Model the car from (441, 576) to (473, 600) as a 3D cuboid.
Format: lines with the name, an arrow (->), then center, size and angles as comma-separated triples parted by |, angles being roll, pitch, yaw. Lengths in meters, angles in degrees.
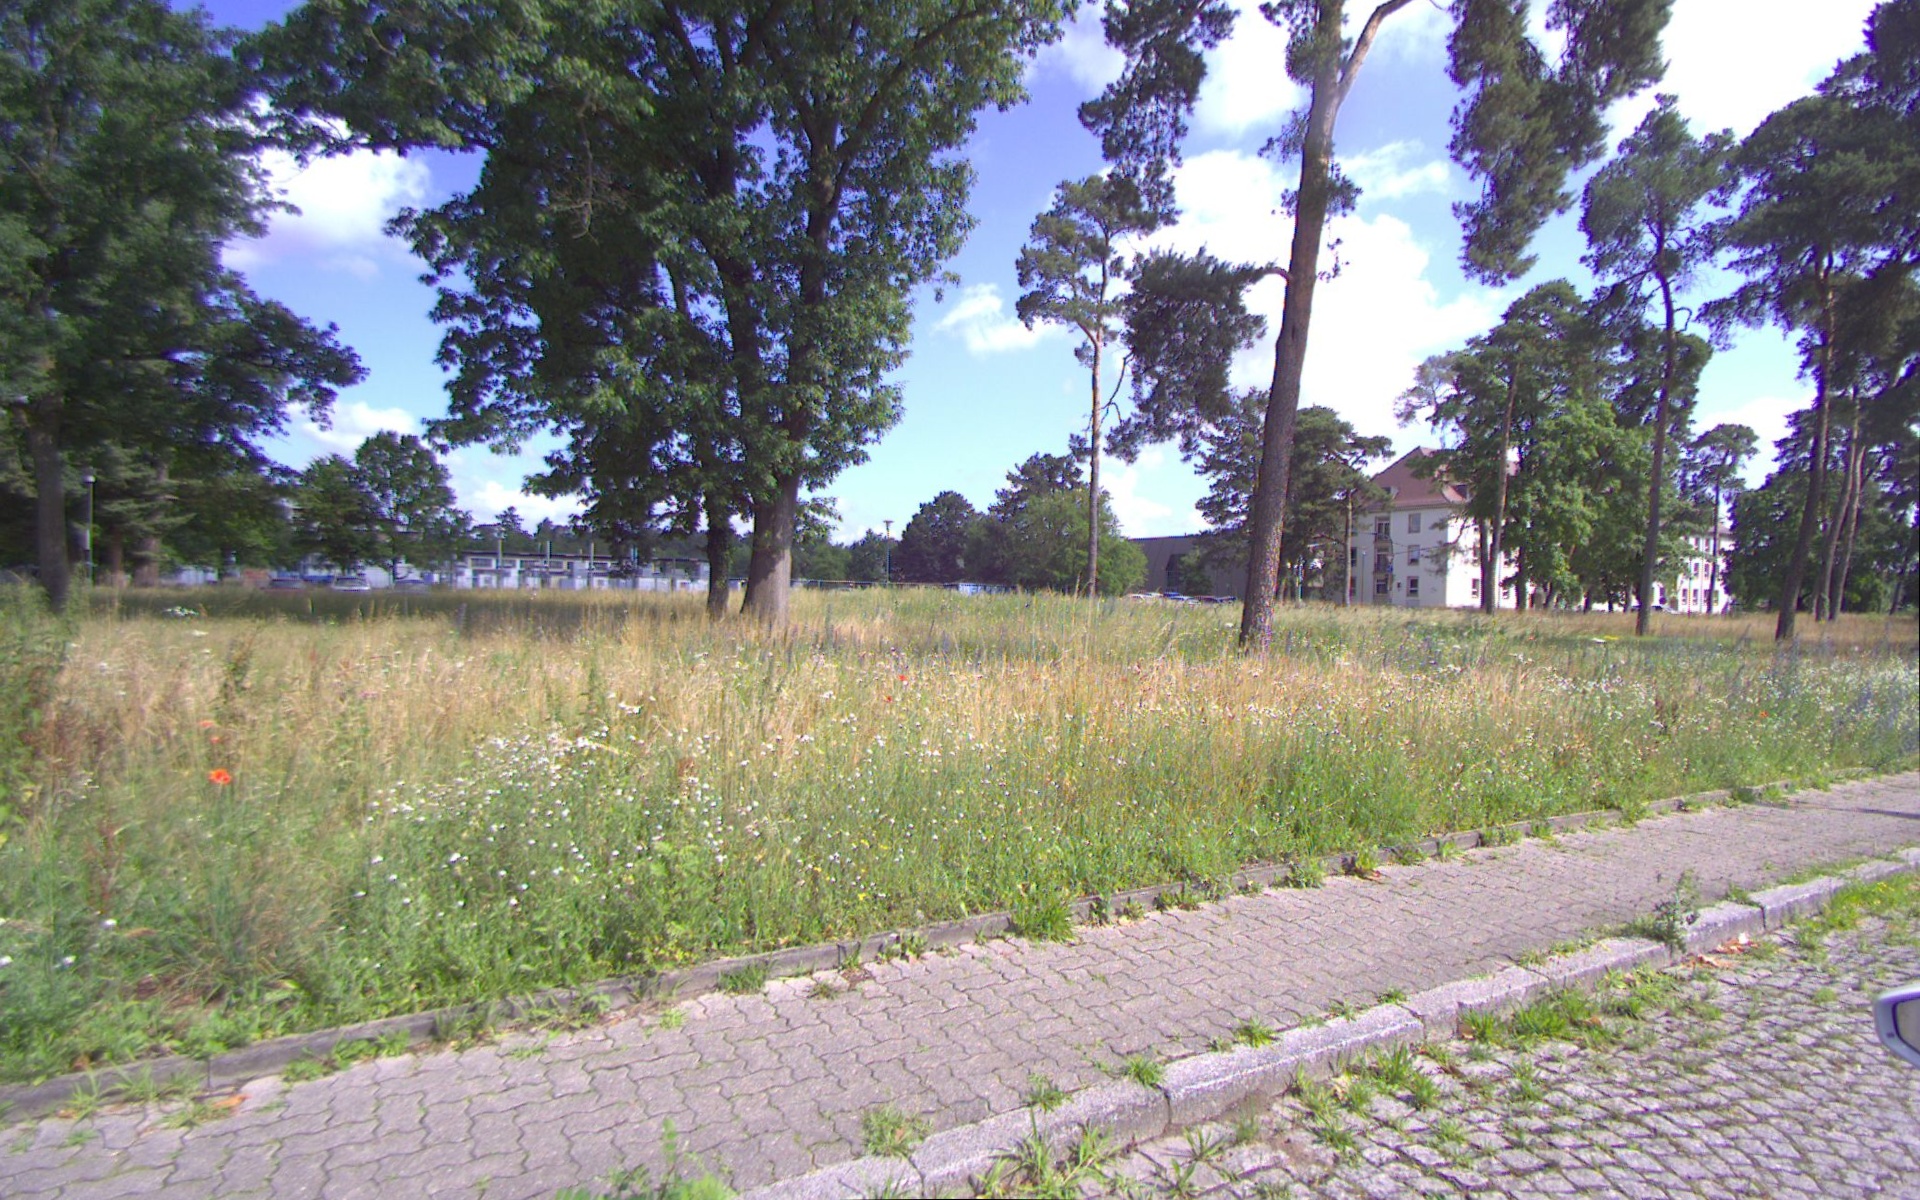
car -> -37.950, -0.924, 75.762 | 1.879, 1.725, 4.045 | 1, 0, -31

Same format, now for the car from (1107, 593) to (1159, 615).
car -> 13.832, 0.294, 80.516 | 1.879, 1.725, 4.045 | 1, 0, -31

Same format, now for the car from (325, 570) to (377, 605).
car -> -26.932, -0.558, 44.495 | 1.879, 1.431, 4.037 | 1, 0, -31

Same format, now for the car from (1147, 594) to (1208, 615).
car -> 14.914, 0.308, 69.101 | 1.879, 1.356, 4.045 | 1, 0, -31

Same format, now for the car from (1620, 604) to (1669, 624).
car -> 75.019, 1.507, 110.115 | 1.692, 2.018, 4.041 | 1, 0, -29

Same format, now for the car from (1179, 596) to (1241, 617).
car -> 17.393, 0.444, 70.064 | 1.879, 1.337, 4.045 | 1, 0, -31
